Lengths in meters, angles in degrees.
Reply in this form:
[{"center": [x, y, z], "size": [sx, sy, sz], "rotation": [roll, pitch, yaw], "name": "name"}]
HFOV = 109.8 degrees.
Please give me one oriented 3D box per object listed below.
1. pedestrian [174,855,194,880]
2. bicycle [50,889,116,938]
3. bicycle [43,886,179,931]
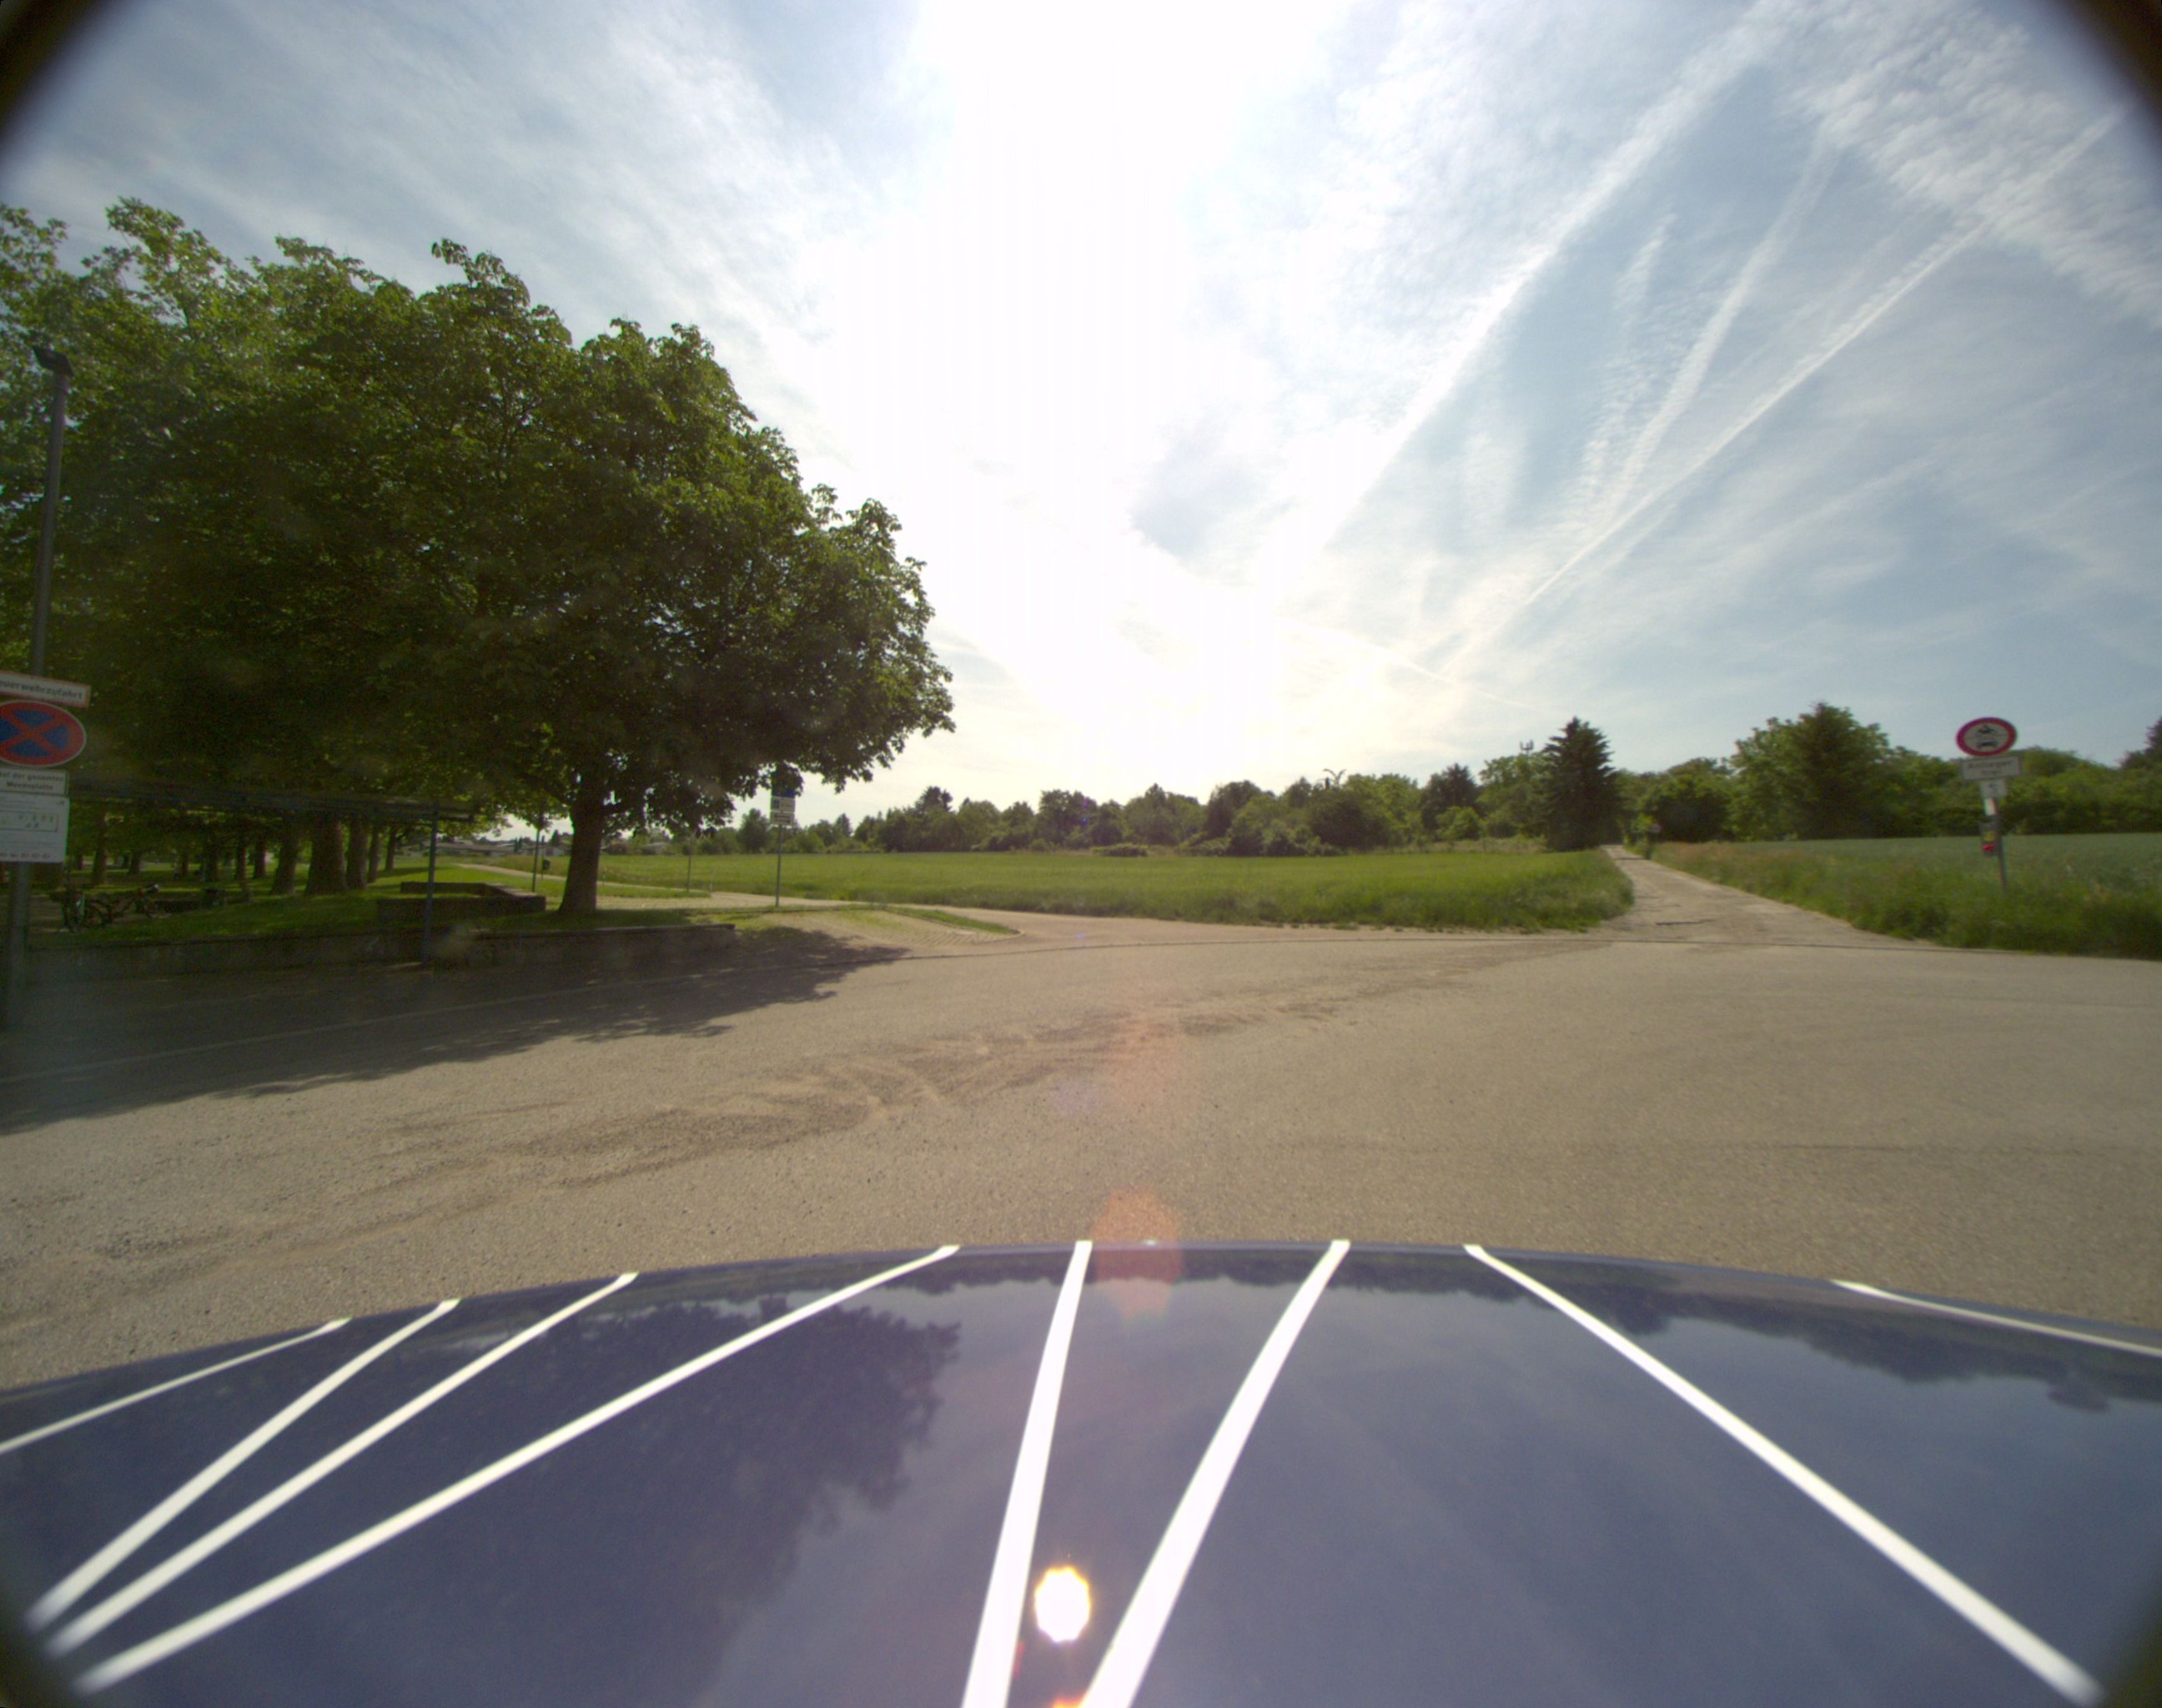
[{"center": [-72.542, 1.097, 61.467], "size": [0.690, 2.001, 0.837], "rotation": [0, -2, 24], "name": "pedestrian"}, {"center": [-23.118, 1.350, 17.622], "size": [0.598, 1.033, 1.887], "rotation": [1, -1, -43], "name": "bicycle"}, {"center": [-24.424, 1.344, 19.182], "size": [0.570, 1.033, 2.073], "rotation": [0, -1, 32], "name": "bicycle"}]
